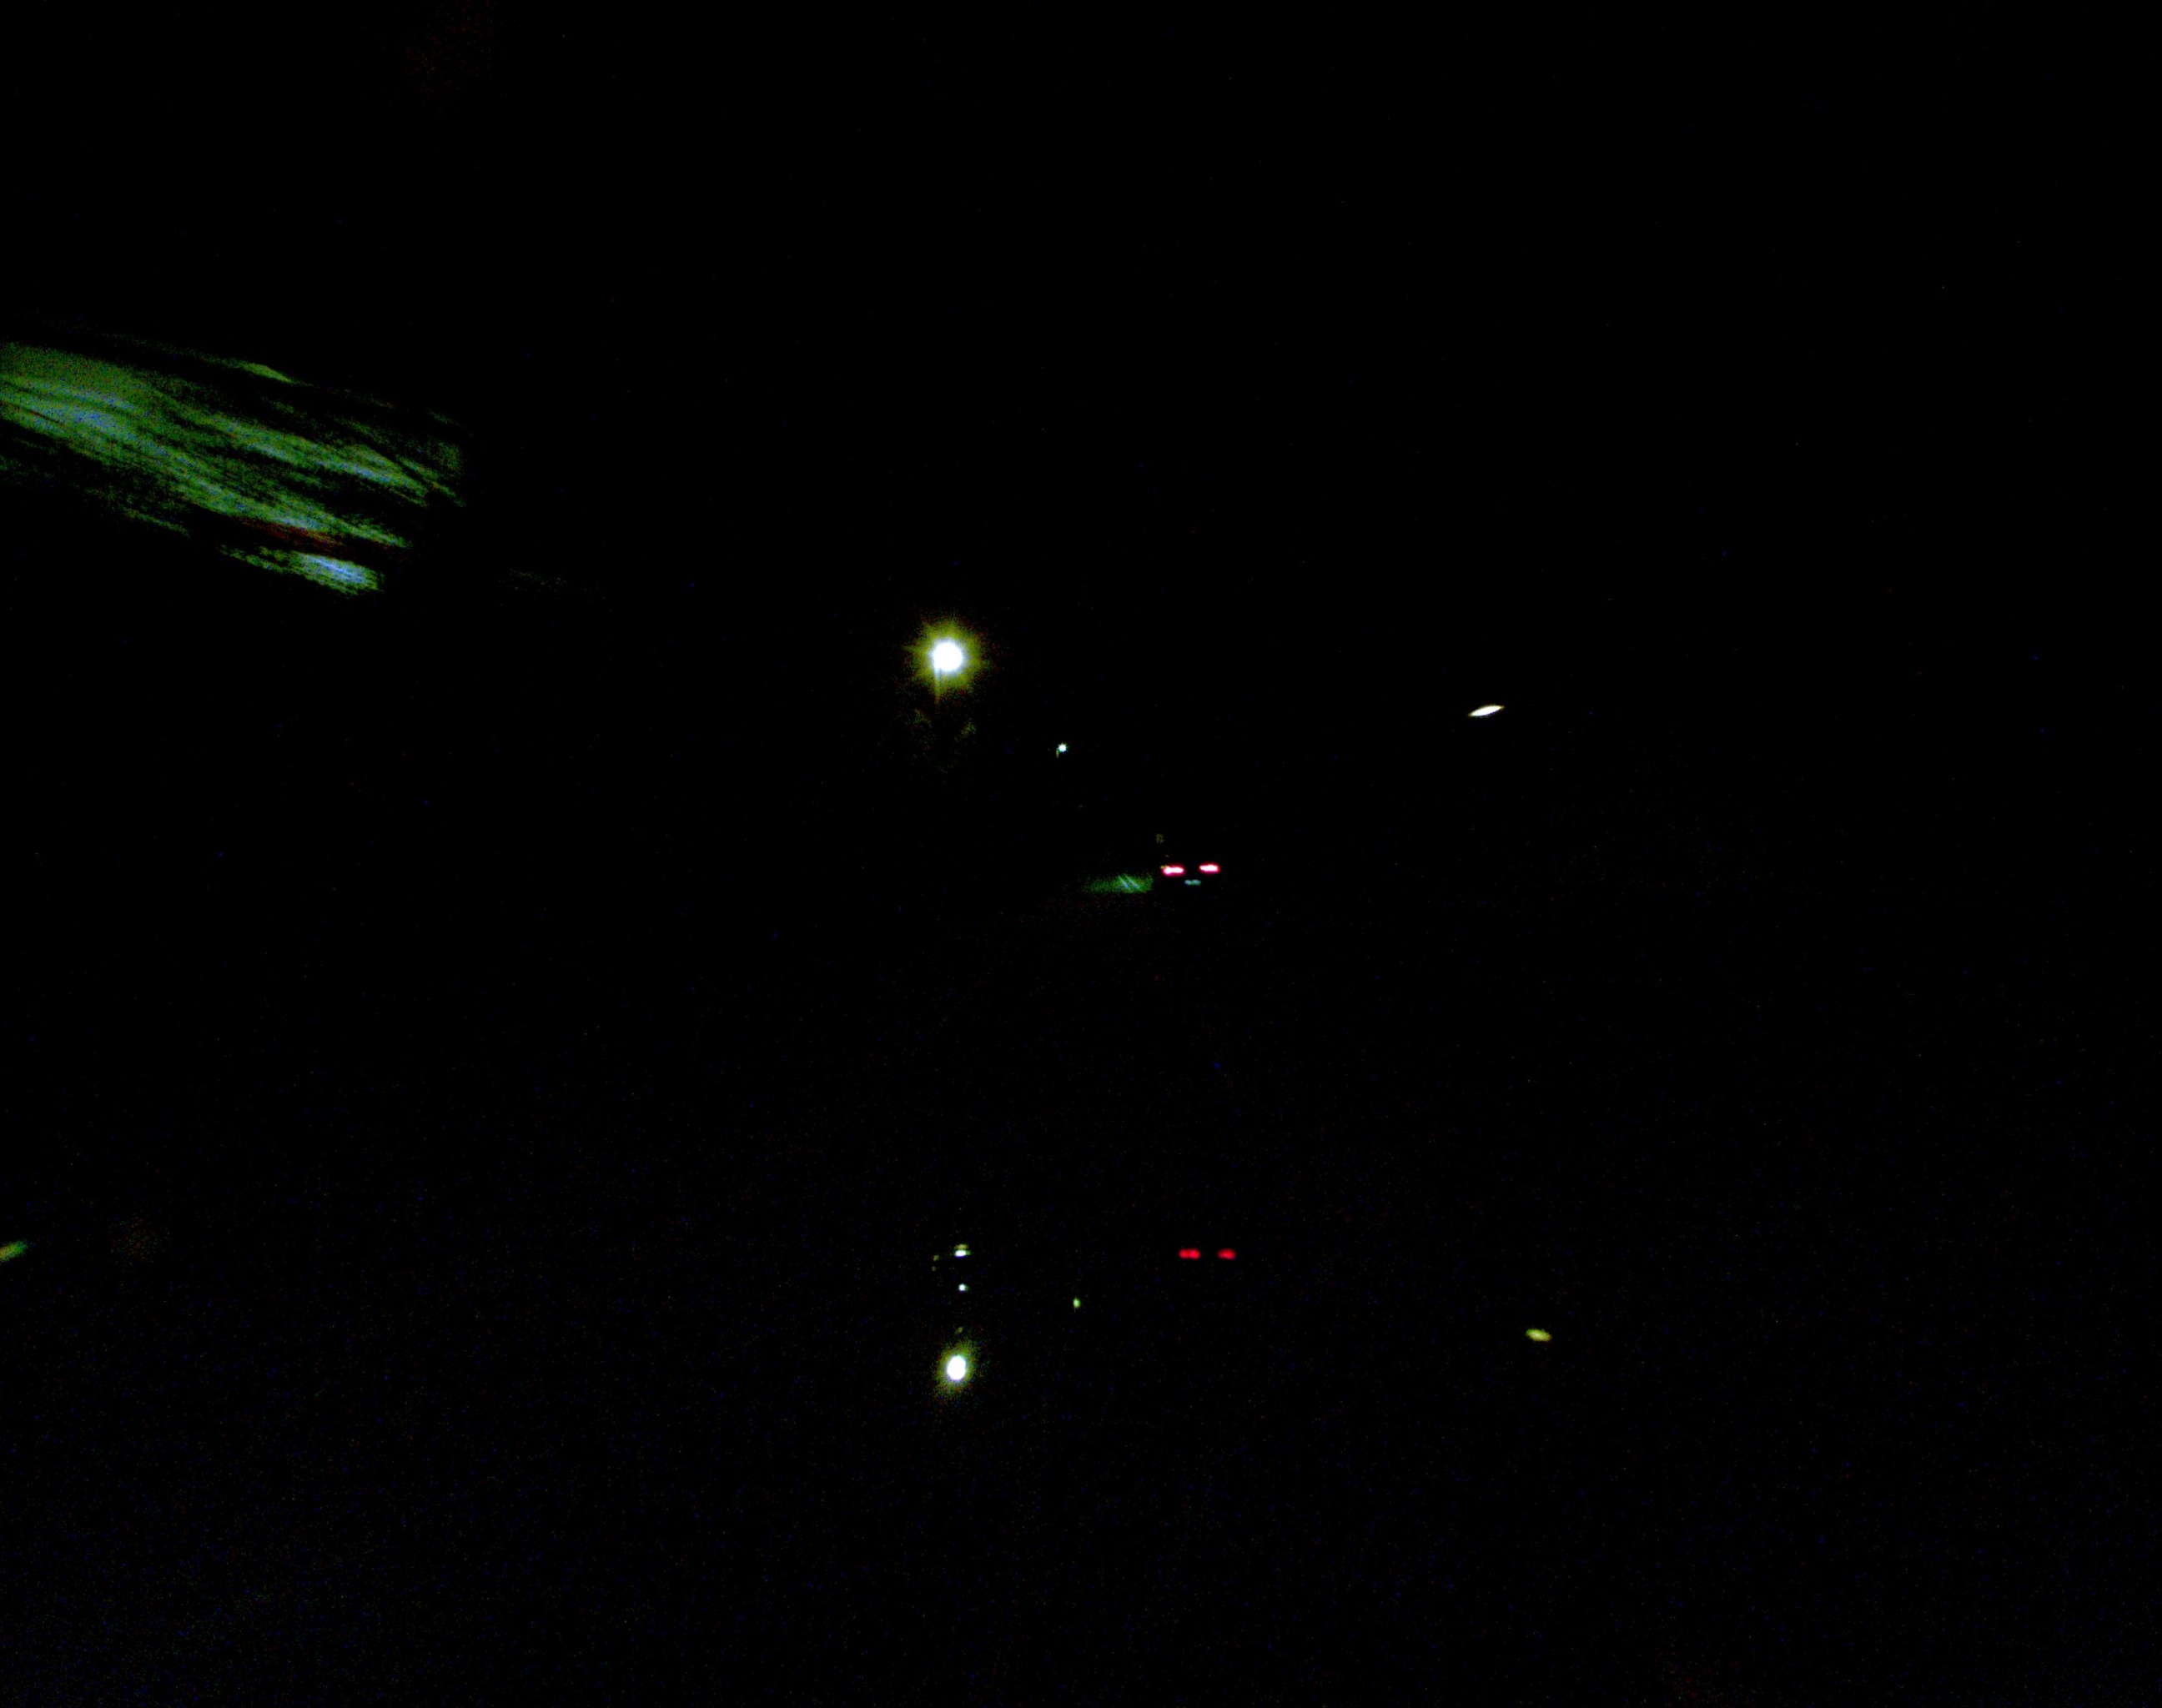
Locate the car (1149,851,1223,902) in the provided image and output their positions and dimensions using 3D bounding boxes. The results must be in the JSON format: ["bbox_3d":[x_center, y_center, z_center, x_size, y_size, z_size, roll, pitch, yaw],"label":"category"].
[{"bbox_3d":[3.634,0.723,26.983,1.887,1.545,4.216,-2,1,-1],"label":"car"}]
